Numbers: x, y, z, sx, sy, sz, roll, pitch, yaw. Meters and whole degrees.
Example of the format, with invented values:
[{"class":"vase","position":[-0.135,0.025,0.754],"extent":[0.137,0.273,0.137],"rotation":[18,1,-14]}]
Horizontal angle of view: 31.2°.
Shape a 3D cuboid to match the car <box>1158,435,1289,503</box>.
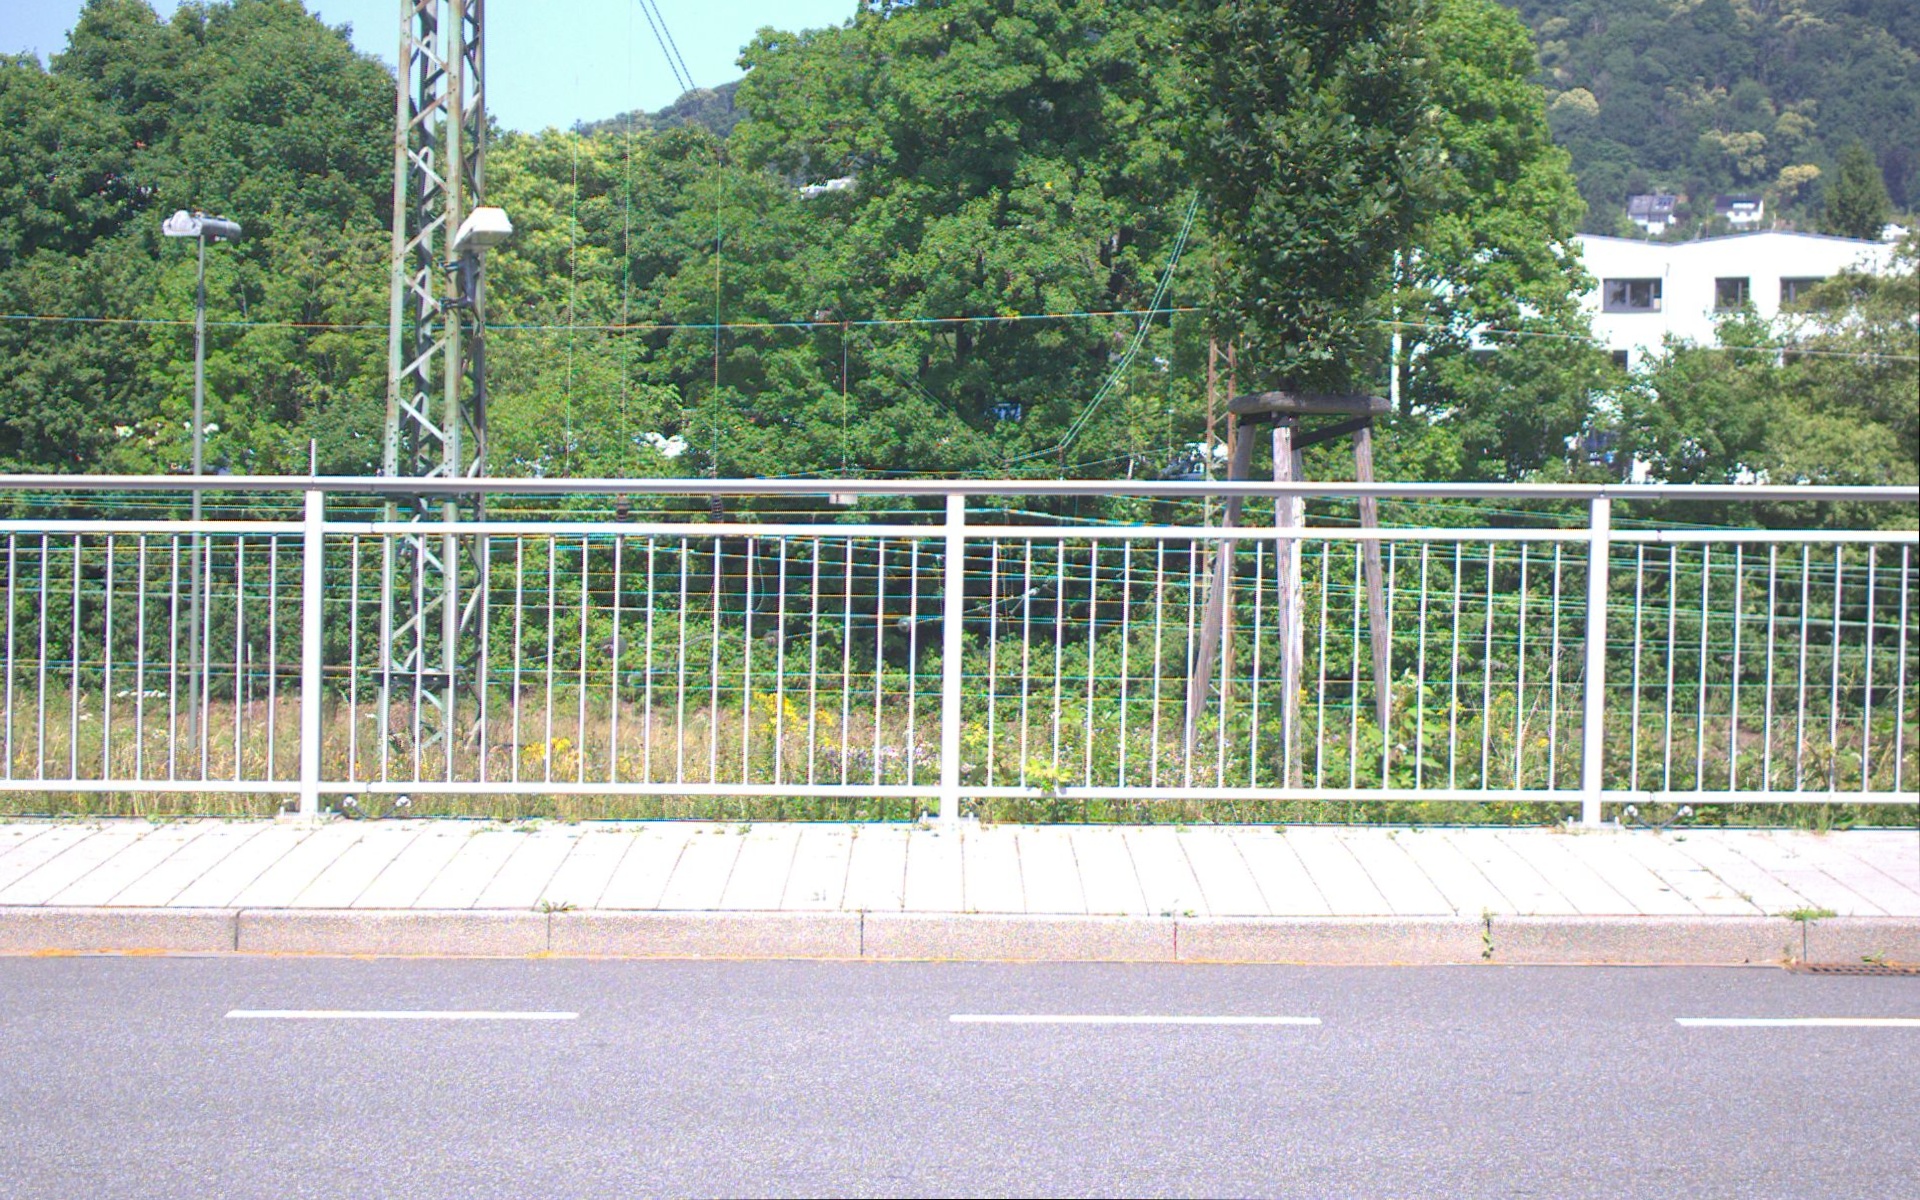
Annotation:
[{"class":"car","position":[8.530,-4.222,111.117],"extent":[3.924,2.007,1.754],"rotation":[0,-2,17]}]
